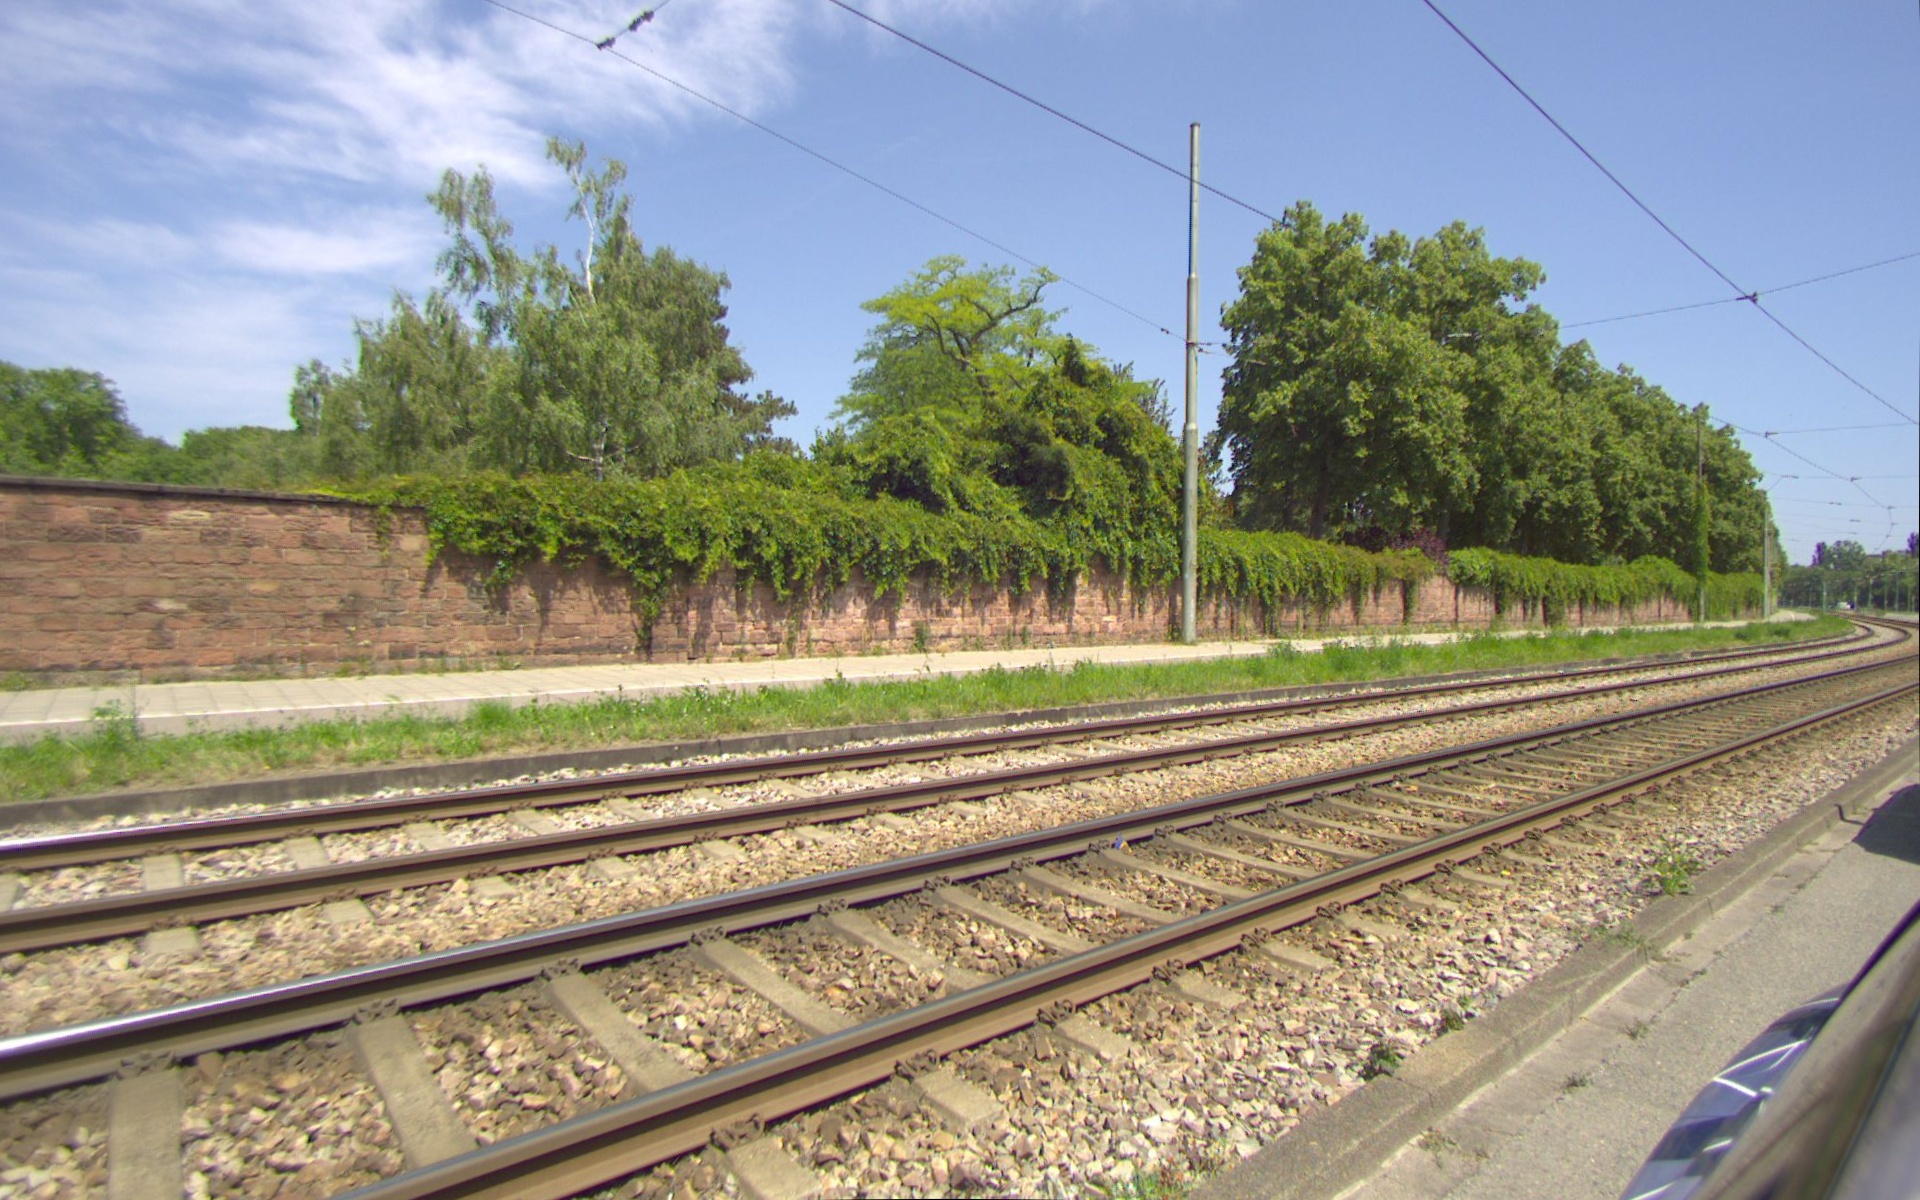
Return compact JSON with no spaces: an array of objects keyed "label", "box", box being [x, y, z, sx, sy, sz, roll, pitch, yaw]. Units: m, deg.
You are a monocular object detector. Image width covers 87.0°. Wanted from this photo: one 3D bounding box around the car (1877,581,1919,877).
[{"label":"car","box":[7.145,0.676,5.877,3.927,1.563,2.062,0,-2,-38]}]
